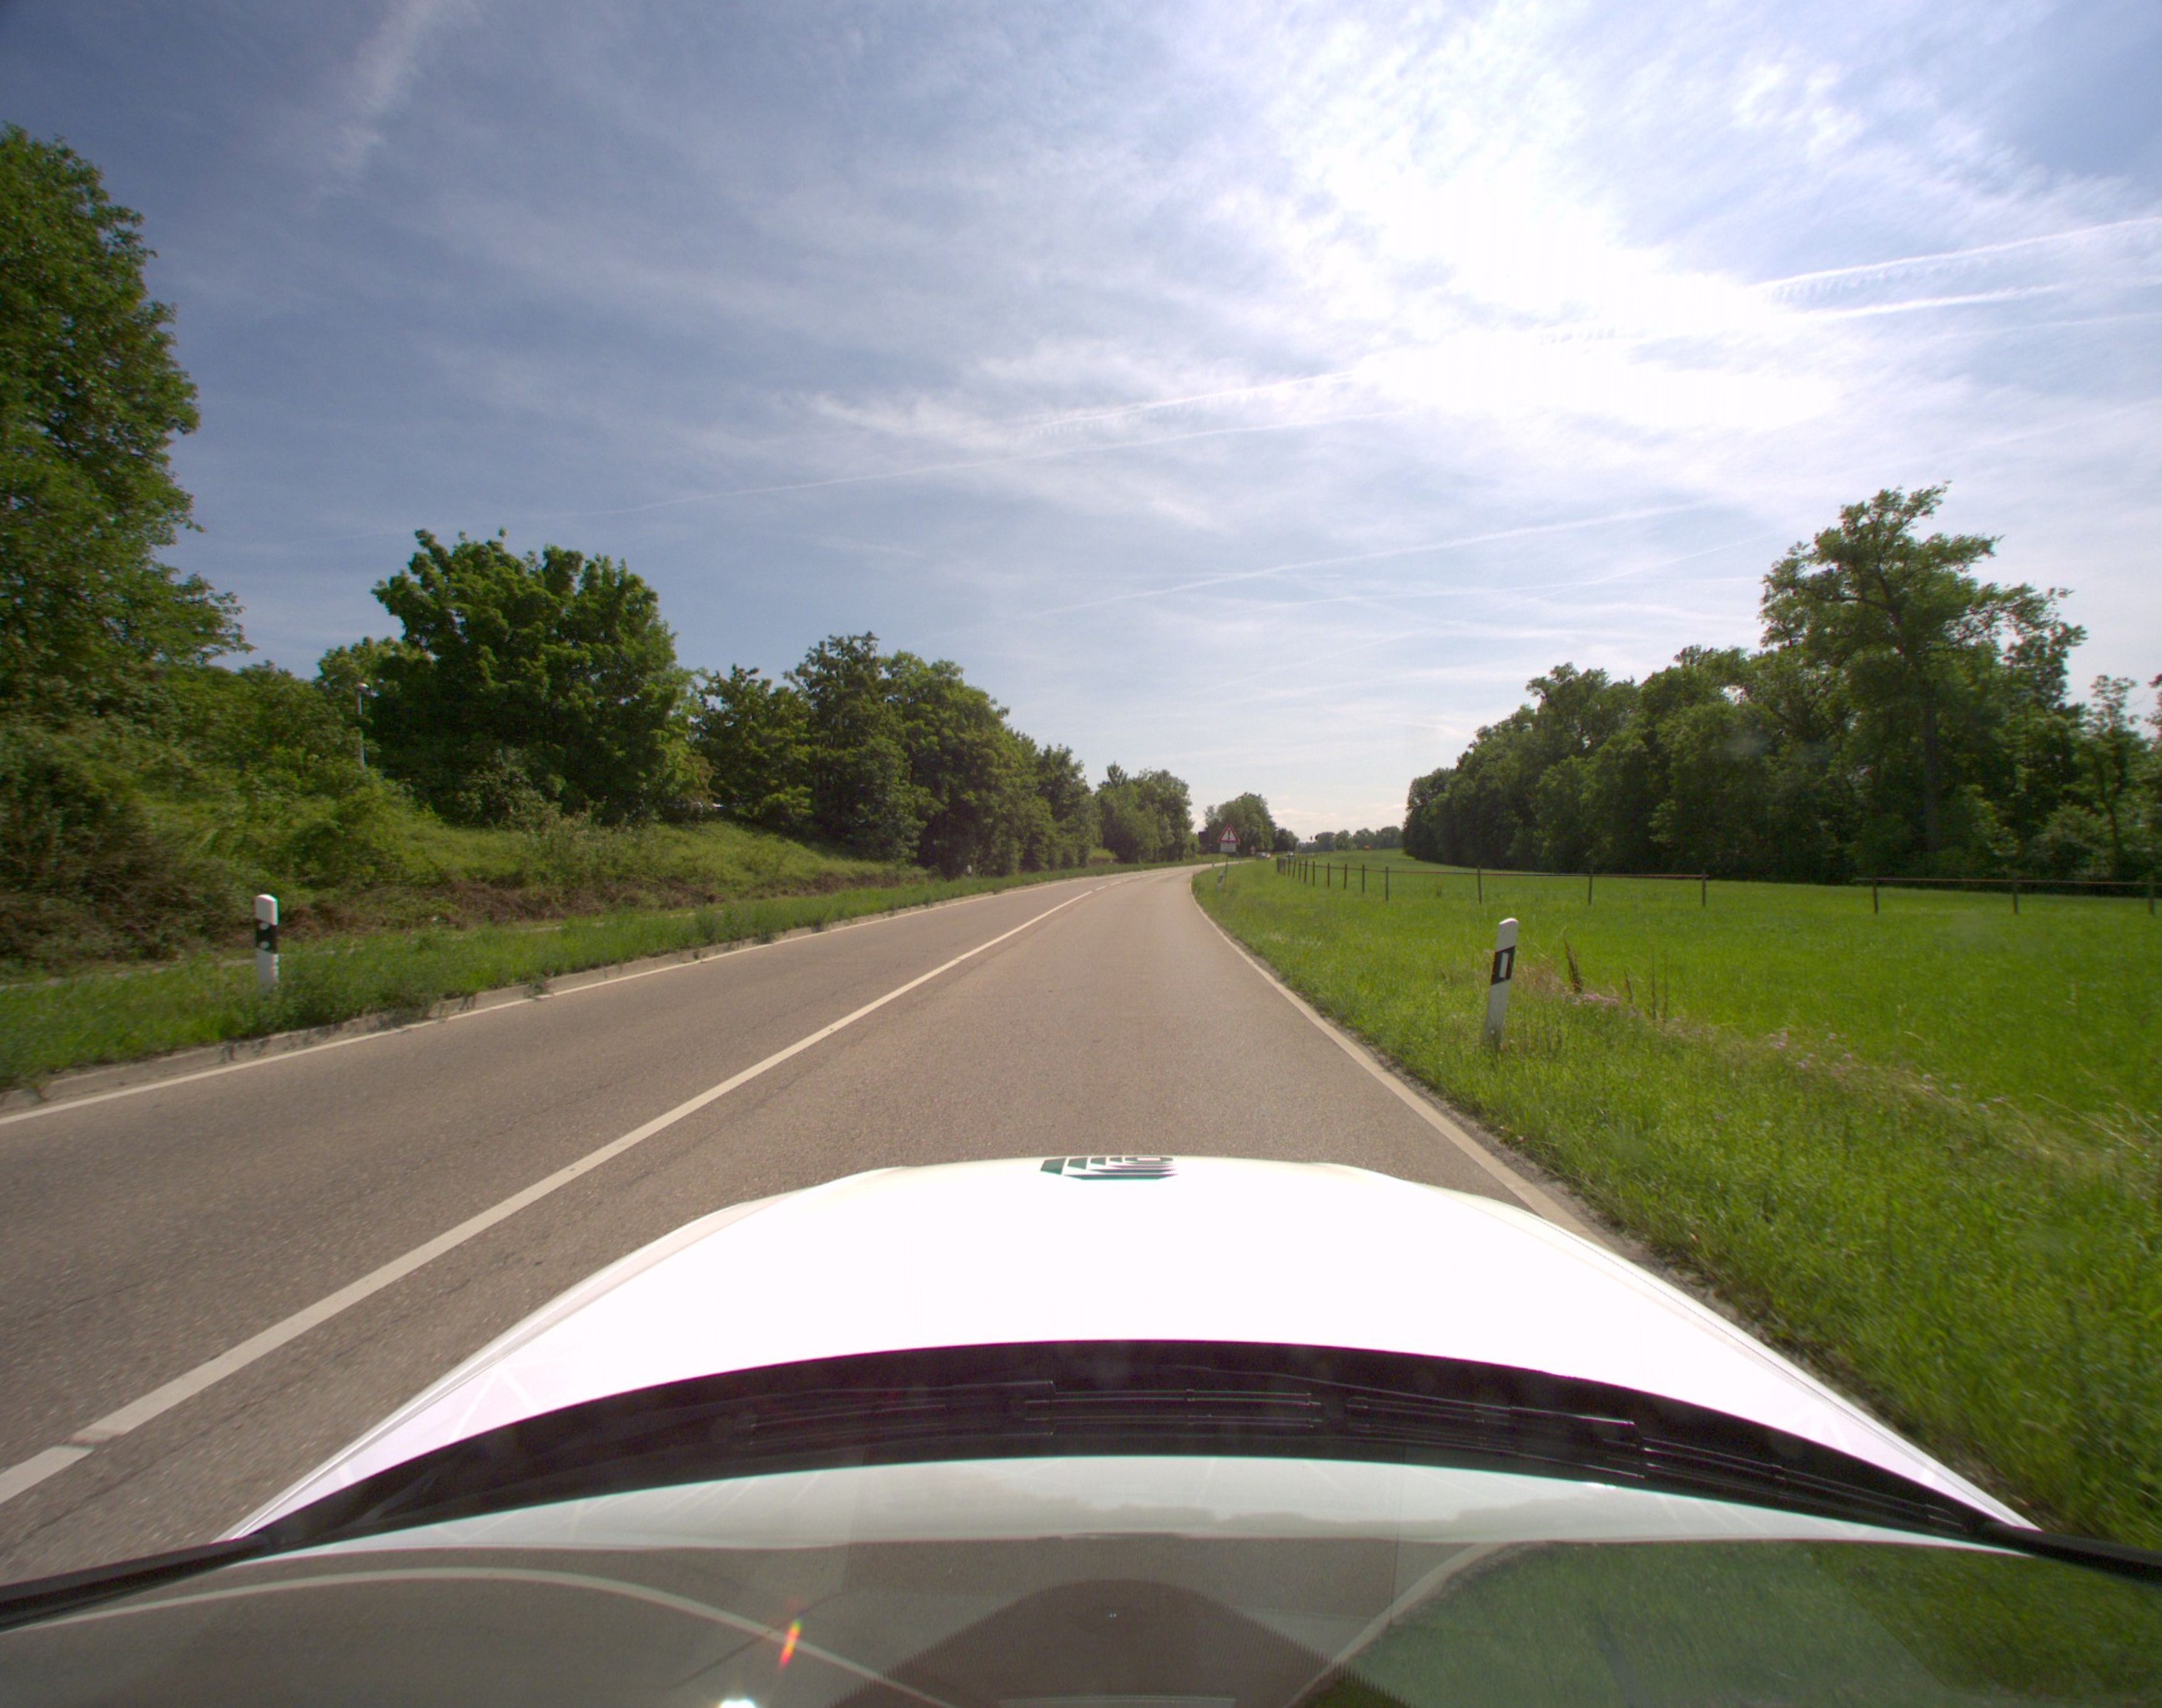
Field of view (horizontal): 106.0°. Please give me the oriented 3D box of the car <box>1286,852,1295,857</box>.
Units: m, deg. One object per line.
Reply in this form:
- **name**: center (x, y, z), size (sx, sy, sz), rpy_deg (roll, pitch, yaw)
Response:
- **car**: center (59.363, 0.162, 230.751), size (1.805, 1.469, 4.021), rpy_deg (1, 0, 22)

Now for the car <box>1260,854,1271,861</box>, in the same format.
- **car**: center (42.281, 0.851, 186.690), size (1.806, 1.469, 4.020), rpy_deg (1, 0, 20)

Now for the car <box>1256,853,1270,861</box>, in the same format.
- **car**: center (34.555, 0.612, 154.498), size (1.976, 1.574, 4.021), rpy_deg (0, 0, 21)
